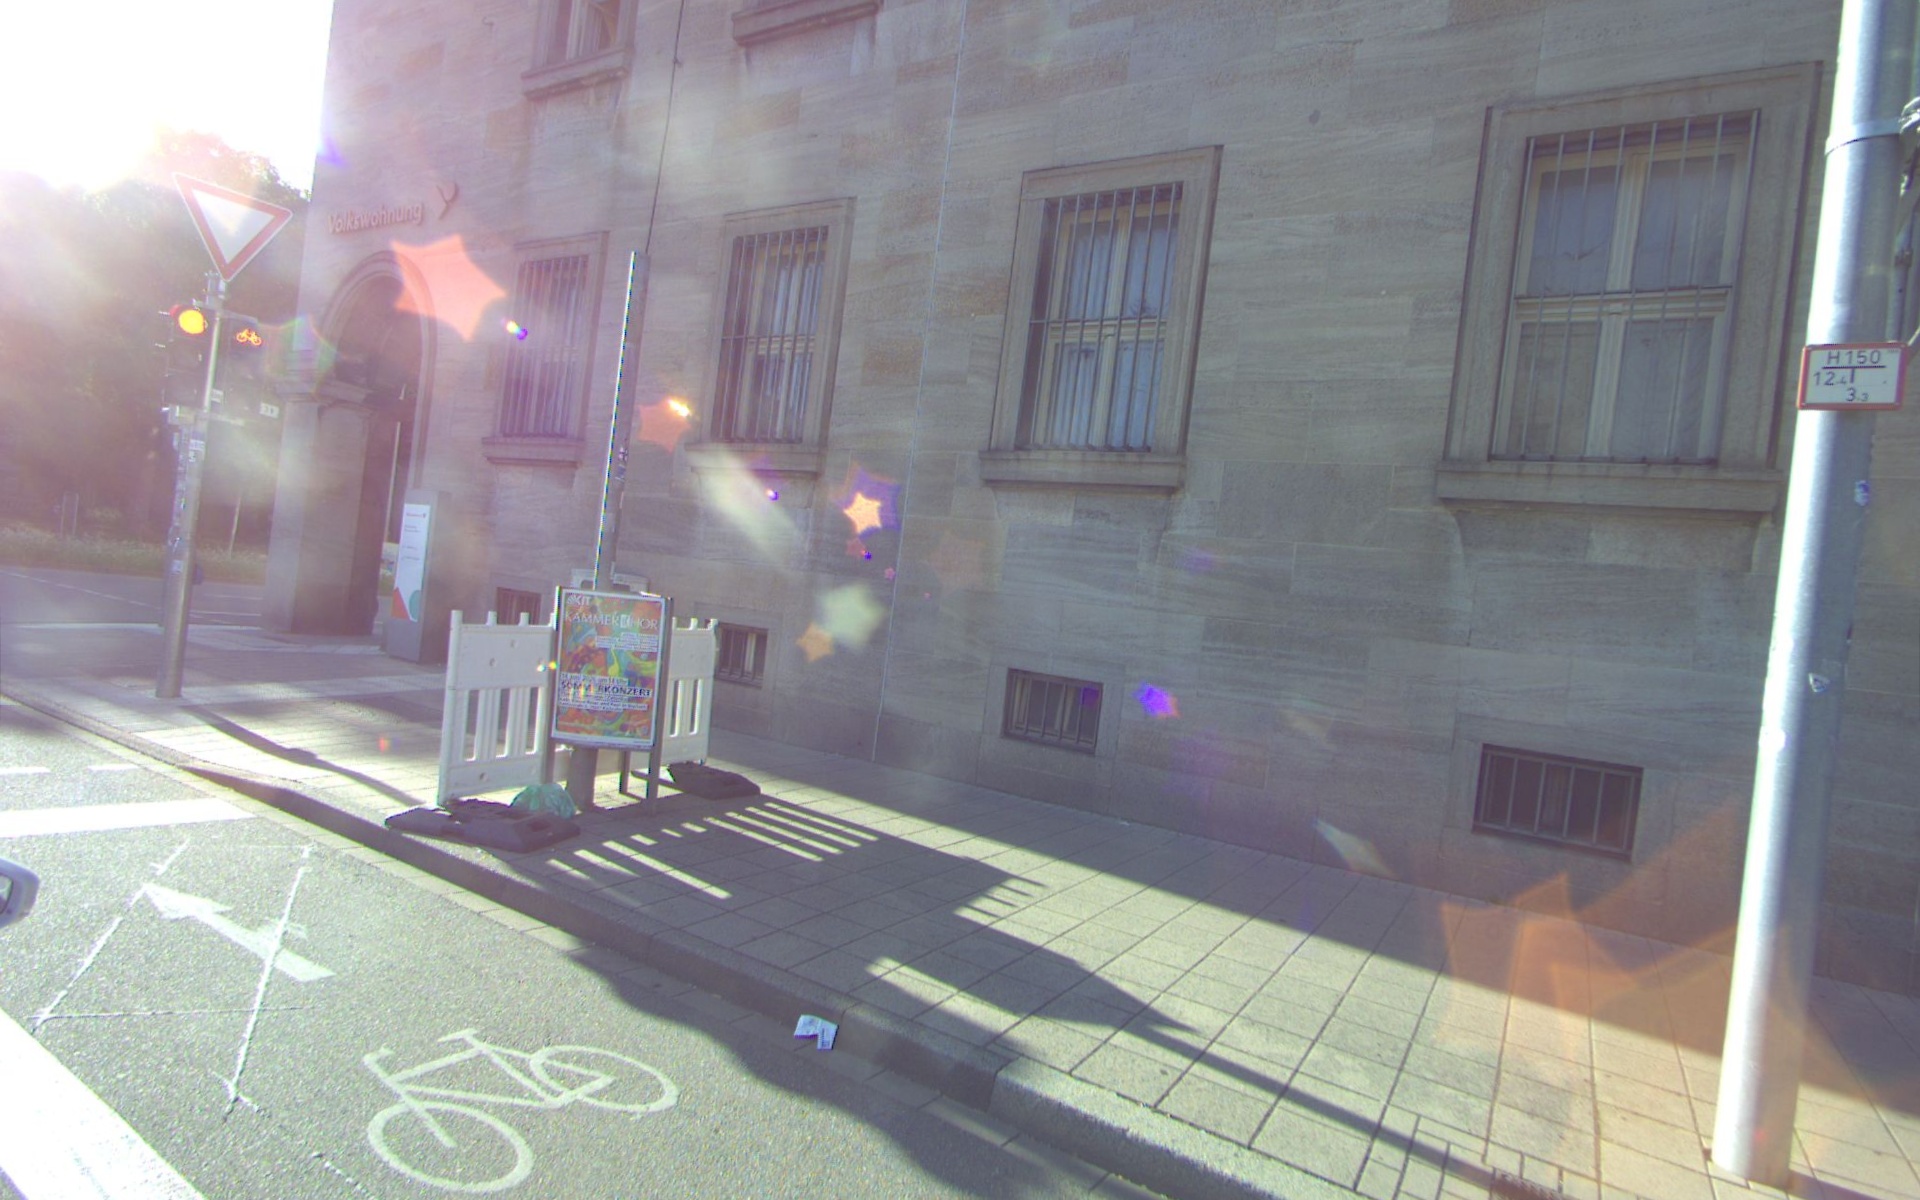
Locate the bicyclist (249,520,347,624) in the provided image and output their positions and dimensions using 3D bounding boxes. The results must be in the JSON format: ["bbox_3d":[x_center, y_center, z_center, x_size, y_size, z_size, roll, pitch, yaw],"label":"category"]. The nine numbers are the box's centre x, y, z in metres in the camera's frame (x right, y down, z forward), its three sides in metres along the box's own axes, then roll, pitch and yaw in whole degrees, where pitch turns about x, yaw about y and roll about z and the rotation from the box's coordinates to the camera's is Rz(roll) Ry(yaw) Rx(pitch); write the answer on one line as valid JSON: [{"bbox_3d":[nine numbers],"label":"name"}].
[{"bbox_3d":[-10.914,-0.455,16.592,0.754,1.531,1.002,9,1,35],"label":"bicyclist"}]

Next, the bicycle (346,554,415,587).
[{"bbox_3d":[-20.999,-1.044,36.496,0.565,0.944,2.068,7,-1,31],"label":"bicycle"}]

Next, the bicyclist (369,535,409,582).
[{"bbox_3d":[-20.825,-1.520,36.705,0.565,1.579,0.976,7,0,31],"label":"bicyclist"}]

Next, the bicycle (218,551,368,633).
[{"bbox_3d":[-10.968,-0.115,16.595,0.754,1.099,1.814,9,1,35],"label":"bicycle"}]
